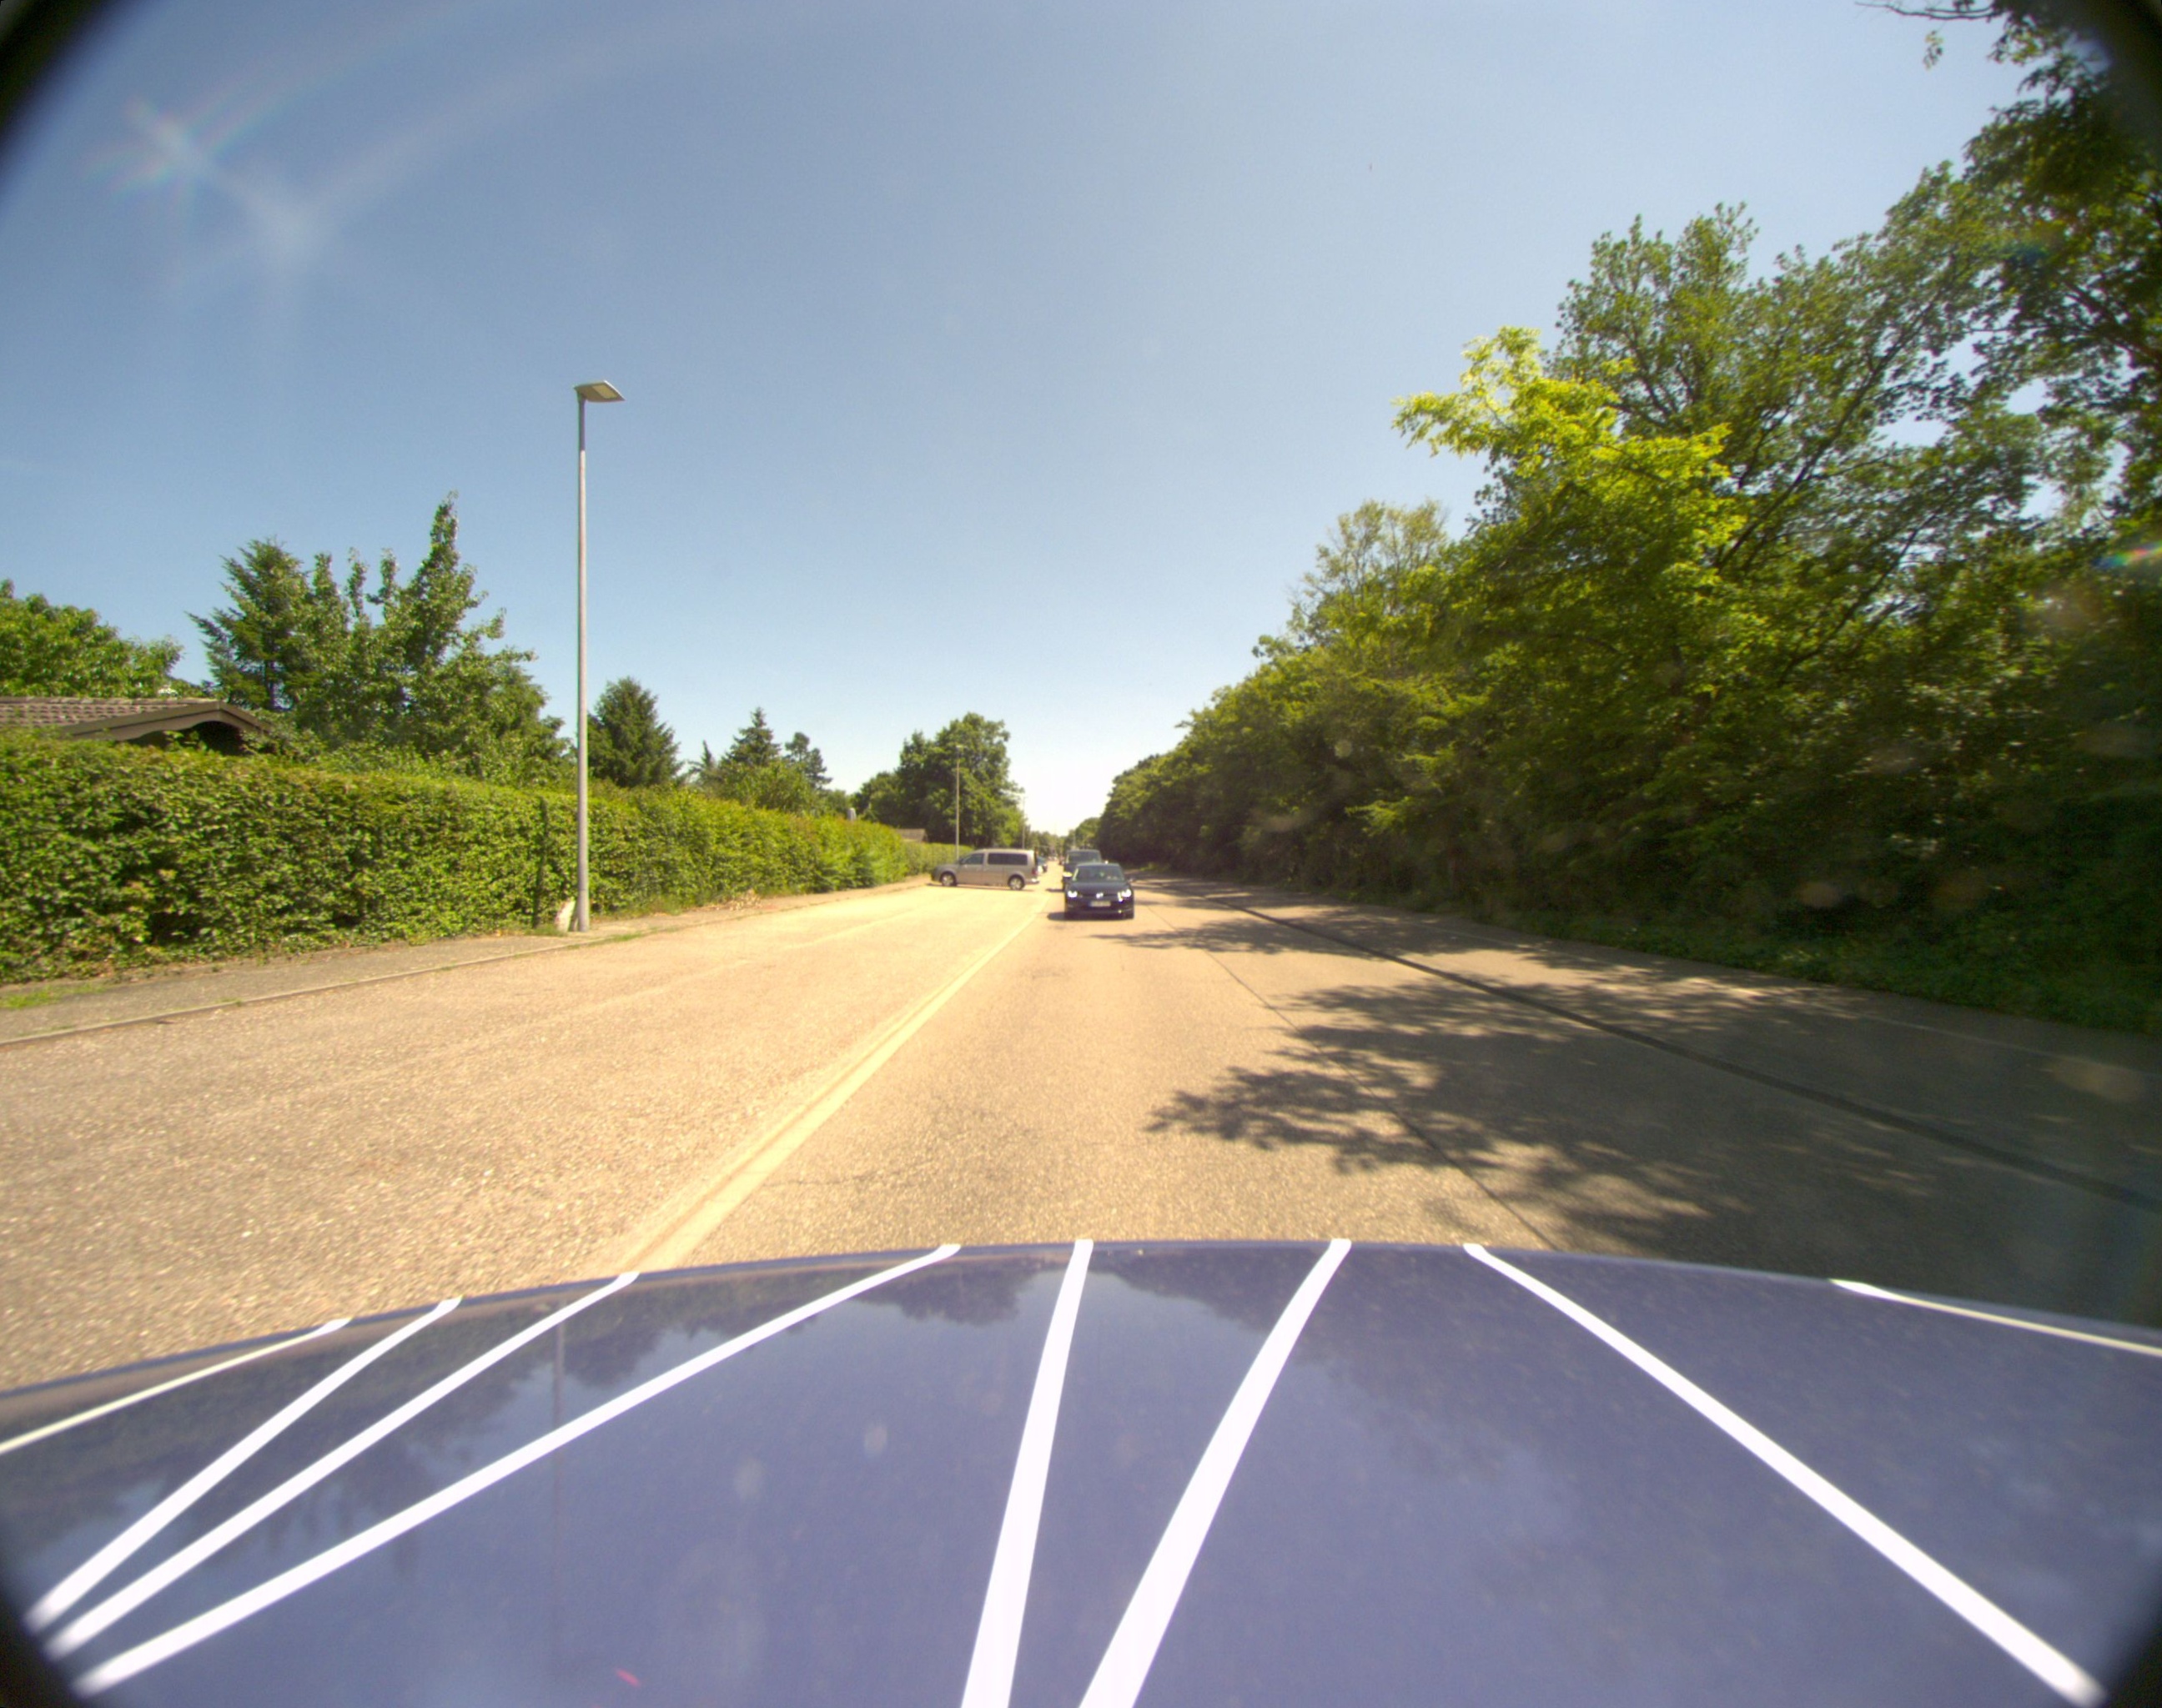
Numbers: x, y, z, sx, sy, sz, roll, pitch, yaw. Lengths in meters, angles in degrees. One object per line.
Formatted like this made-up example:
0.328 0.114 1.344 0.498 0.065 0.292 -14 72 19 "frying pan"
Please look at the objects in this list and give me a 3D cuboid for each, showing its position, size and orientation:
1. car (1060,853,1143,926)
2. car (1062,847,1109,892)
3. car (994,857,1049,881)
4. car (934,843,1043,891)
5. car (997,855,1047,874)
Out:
0.506 0.841 20.005 1.887 1.667 4.663 1 0 1 "car"
0.140 0.695 35.635 2.001 1.965 4.449 1 0 -1 "car"
-5.090 1.279 65.738 4.482 1.694 1.913 5 0 -2 "car"
-4.129 0.583 34.465 4.633 1.837 1.996 3 0 0 "car"
-4.822 0.871 62.903 4.007 1.444 1.831 1 0 -2 "car"
